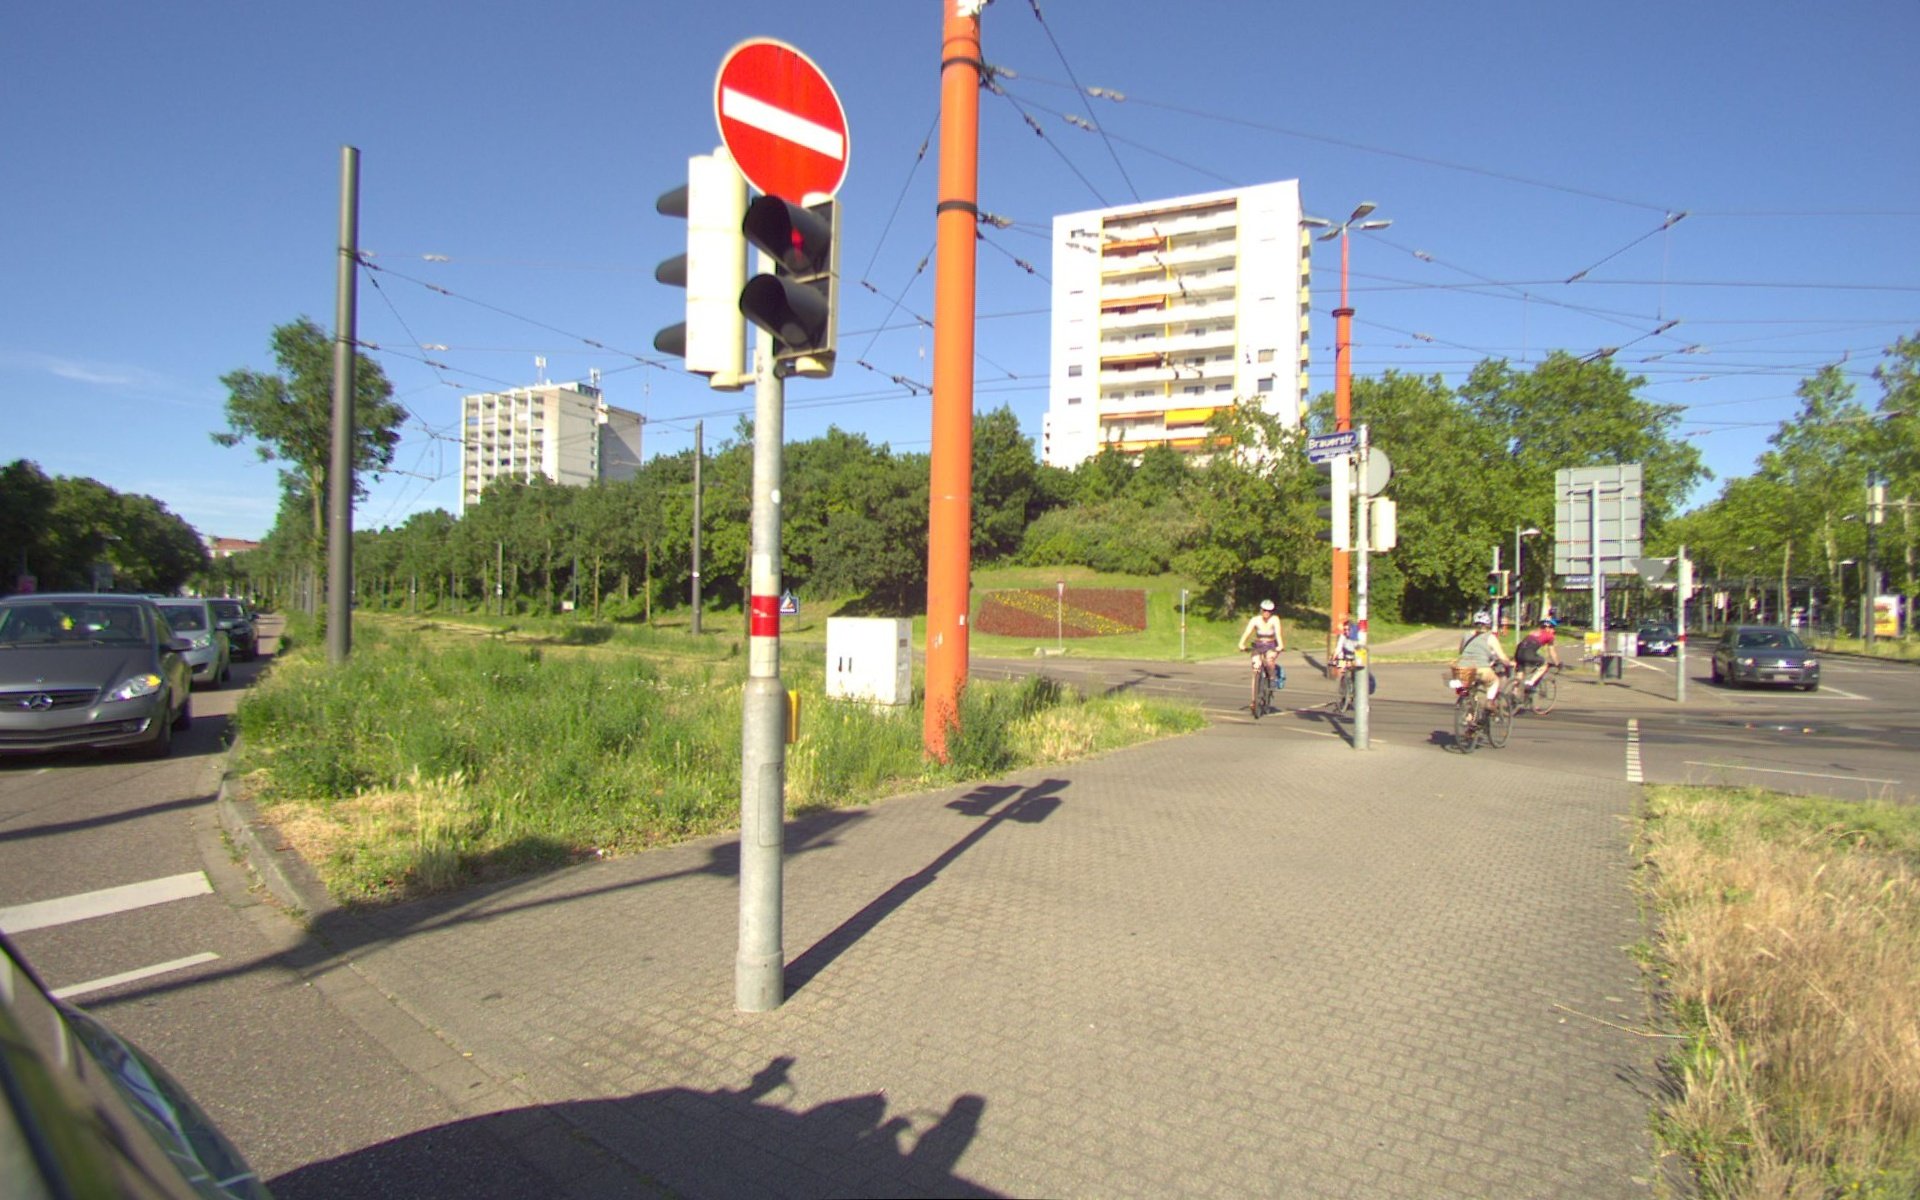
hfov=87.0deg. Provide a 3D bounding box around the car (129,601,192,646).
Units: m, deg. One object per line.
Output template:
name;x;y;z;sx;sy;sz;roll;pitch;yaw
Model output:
car;-31.881;0.895;40.428;1.721;1.674;4.010;0;0;-35

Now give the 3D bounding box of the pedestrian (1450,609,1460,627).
pedestrian;44.144;1.568;90.214;0.685;1.568;0.979;0;-3;36

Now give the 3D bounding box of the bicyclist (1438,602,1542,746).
bicyclist;6.351;0.852;12.132;0.815;1.634;0.893;2;-2;-45

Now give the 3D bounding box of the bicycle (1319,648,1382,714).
bicycle;6.983;1.410;18.054;0.578;1.080;1.892;0;-2;36

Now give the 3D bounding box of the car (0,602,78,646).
car;-33.493;0.846;36.821;1.686;1.505;3.974;0;0;-35

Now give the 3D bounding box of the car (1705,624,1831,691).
car;21.312;1.459;26.882;1.910;1.507;4.006;0;0;28

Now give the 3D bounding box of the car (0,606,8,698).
car;-15.008;0.817;14.277;1.686;1.449;4.182;0;0;-35

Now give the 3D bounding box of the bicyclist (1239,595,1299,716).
bicyclist;4.965;0.863;16.301;0.885;1.881;0.919;0;0;17

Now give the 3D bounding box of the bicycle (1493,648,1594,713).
bicycle;10.425;1.410;18.076;1.883;1.079;0.694;1;-1;-29

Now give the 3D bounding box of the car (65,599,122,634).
car;-39.810;0.739;46.570;1.626;1.541;3.906;0;0;-35

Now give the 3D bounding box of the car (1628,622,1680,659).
car;32.397;1.846;47.198;1.914;1.507;3.952;0;0;36

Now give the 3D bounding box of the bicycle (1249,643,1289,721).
bicycle;4.979;1.288;16.300;0.575;1.079;1.905;0;0;18

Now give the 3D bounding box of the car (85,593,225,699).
car;-14.291;0.724;18.152;1.721;1.674;4.010;0;0;-35

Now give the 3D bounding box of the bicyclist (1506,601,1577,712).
bicyclist;10.376;0.975;18.059;0.974;1.927;0.689;0;0;-29

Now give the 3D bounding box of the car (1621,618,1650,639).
car;53.172;2.193;79.667;1.842;1.507;3.953;0;0;34

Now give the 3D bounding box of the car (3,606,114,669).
car;-23.391;0.915;26.375;1.658;1.456;3.737;0;0;-34

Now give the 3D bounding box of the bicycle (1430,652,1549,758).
bicycle;6.410;1.216;12.204;1.887;1.139;0.741;3;-2;-45

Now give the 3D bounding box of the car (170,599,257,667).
car;-19.789;0.831;26.942;1.721;1.674;4.010;1;-1;-35

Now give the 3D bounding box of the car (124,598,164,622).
car;-51.699;0.620;64.172;1.686;1.505;3.974;0;0;-35

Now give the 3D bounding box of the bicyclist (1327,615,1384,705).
bicyclist;7.115;1.050;18.200;0.719;1.536;0.912;0;0;38

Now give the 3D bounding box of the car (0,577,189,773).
car;-9.055;0.651;10.327;1.721;1.652;4.010;0;0;-35

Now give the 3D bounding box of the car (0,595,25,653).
car;-29.413;0.710;30.169;1.721;1.674;4.010;1;-1;-35

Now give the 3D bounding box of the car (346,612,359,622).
car;-97.444;2.723;162.234;1.553;1.431;3.919;0;-1;-35
